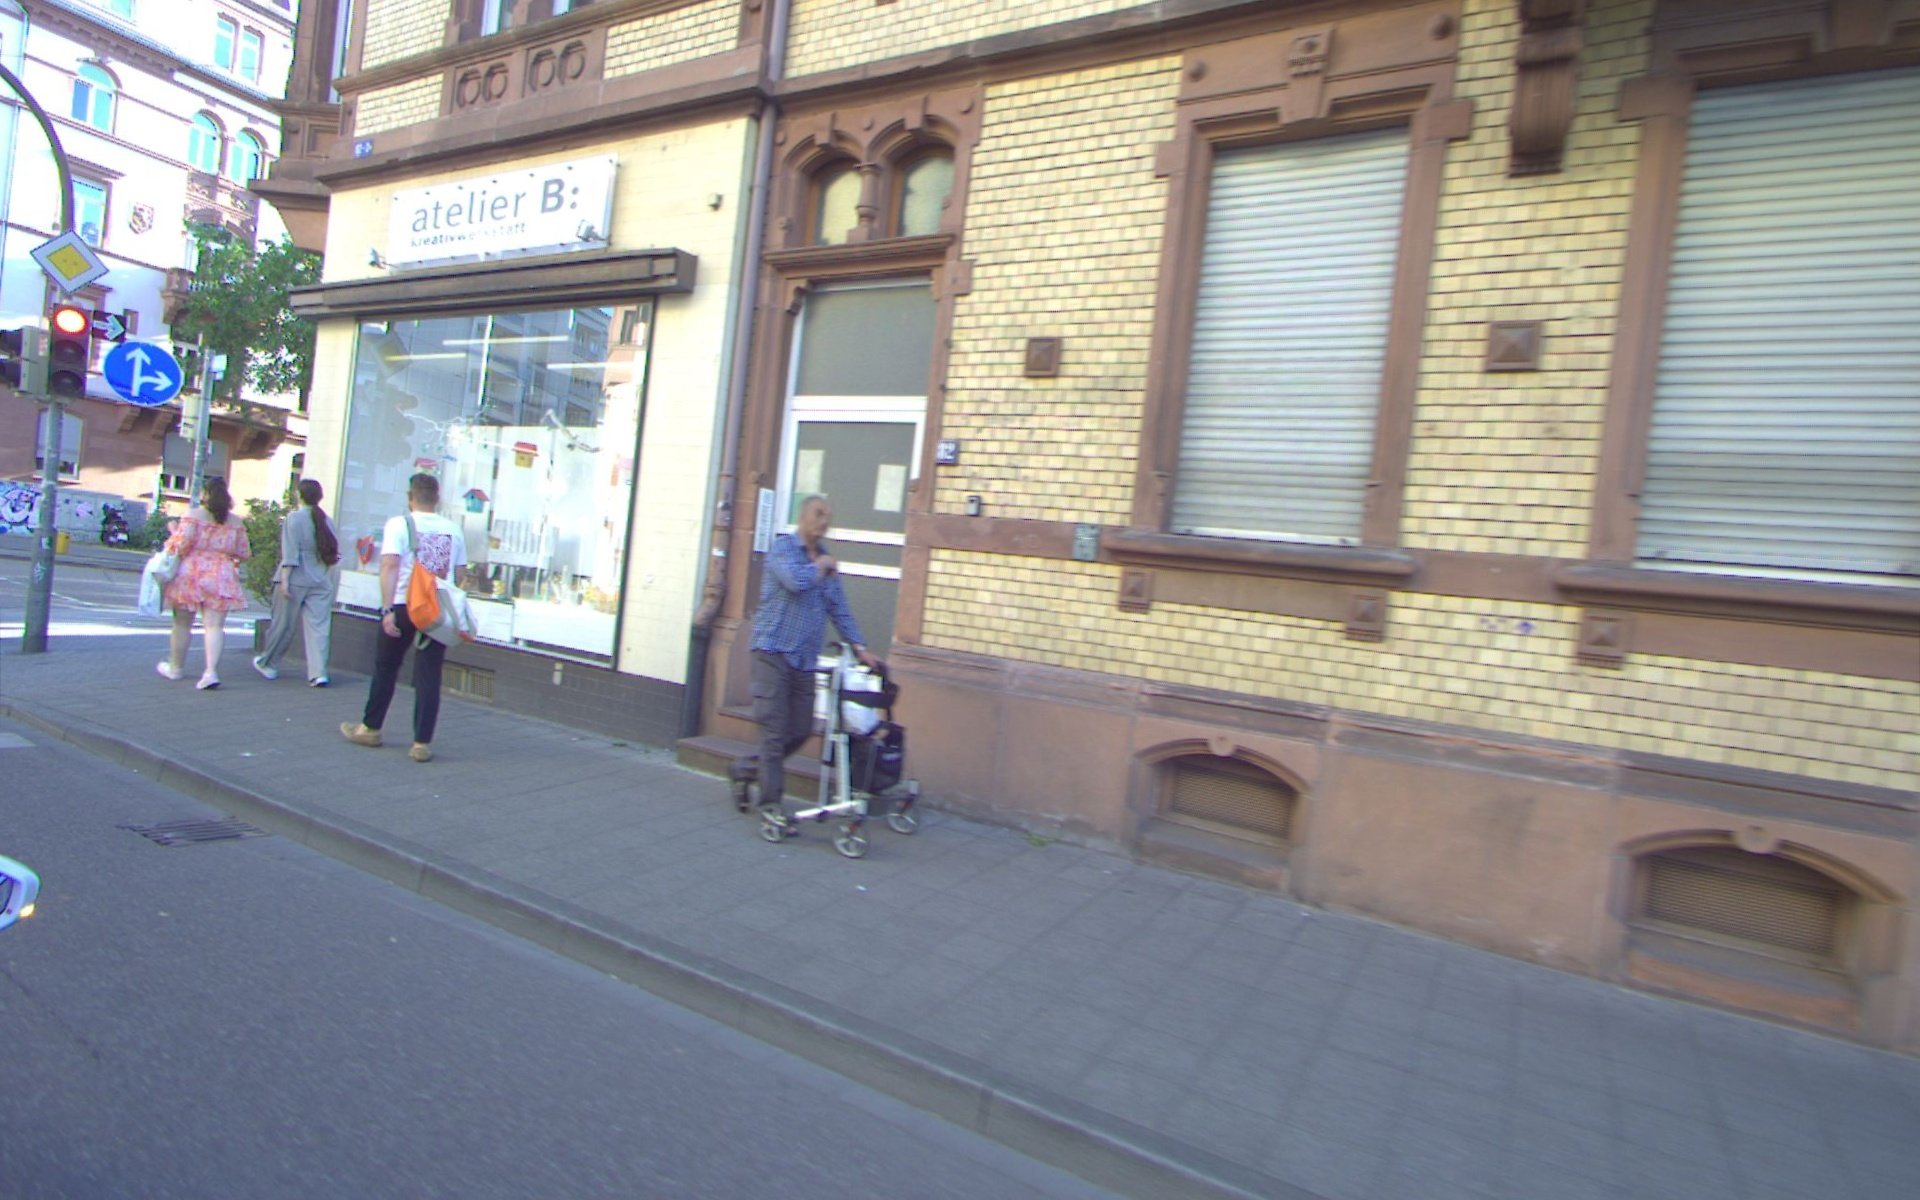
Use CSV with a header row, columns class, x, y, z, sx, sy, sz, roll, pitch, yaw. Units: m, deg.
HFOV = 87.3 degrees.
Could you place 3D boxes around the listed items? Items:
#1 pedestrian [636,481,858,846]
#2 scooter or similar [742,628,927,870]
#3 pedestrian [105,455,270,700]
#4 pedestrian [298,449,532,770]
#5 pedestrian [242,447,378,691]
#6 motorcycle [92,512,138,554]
class,x,y,z,sx,sy,sz,roll,pitch,yaw
pedestrian,-1.177,0.308,5.606,0.749,1.826,0.805,8,5,30
scooter or similar,-0.642,0.729,5.276,0.512,1.085,0.805,7,5,30
pedestrian,-6.244,-0.189,8.141,0.748,1.826,0.805,8,5,29
pedestrian,-3.476,0.026,6.422,1.073,1.826,0.805,8,5,29
pedestrian,-5.482,-0.266,8.492,0.659,1.936,0.690,8,5,29
motorcycle,-25.922,-2.070,30.850,2.255,1.033,0.718,10,2,42
